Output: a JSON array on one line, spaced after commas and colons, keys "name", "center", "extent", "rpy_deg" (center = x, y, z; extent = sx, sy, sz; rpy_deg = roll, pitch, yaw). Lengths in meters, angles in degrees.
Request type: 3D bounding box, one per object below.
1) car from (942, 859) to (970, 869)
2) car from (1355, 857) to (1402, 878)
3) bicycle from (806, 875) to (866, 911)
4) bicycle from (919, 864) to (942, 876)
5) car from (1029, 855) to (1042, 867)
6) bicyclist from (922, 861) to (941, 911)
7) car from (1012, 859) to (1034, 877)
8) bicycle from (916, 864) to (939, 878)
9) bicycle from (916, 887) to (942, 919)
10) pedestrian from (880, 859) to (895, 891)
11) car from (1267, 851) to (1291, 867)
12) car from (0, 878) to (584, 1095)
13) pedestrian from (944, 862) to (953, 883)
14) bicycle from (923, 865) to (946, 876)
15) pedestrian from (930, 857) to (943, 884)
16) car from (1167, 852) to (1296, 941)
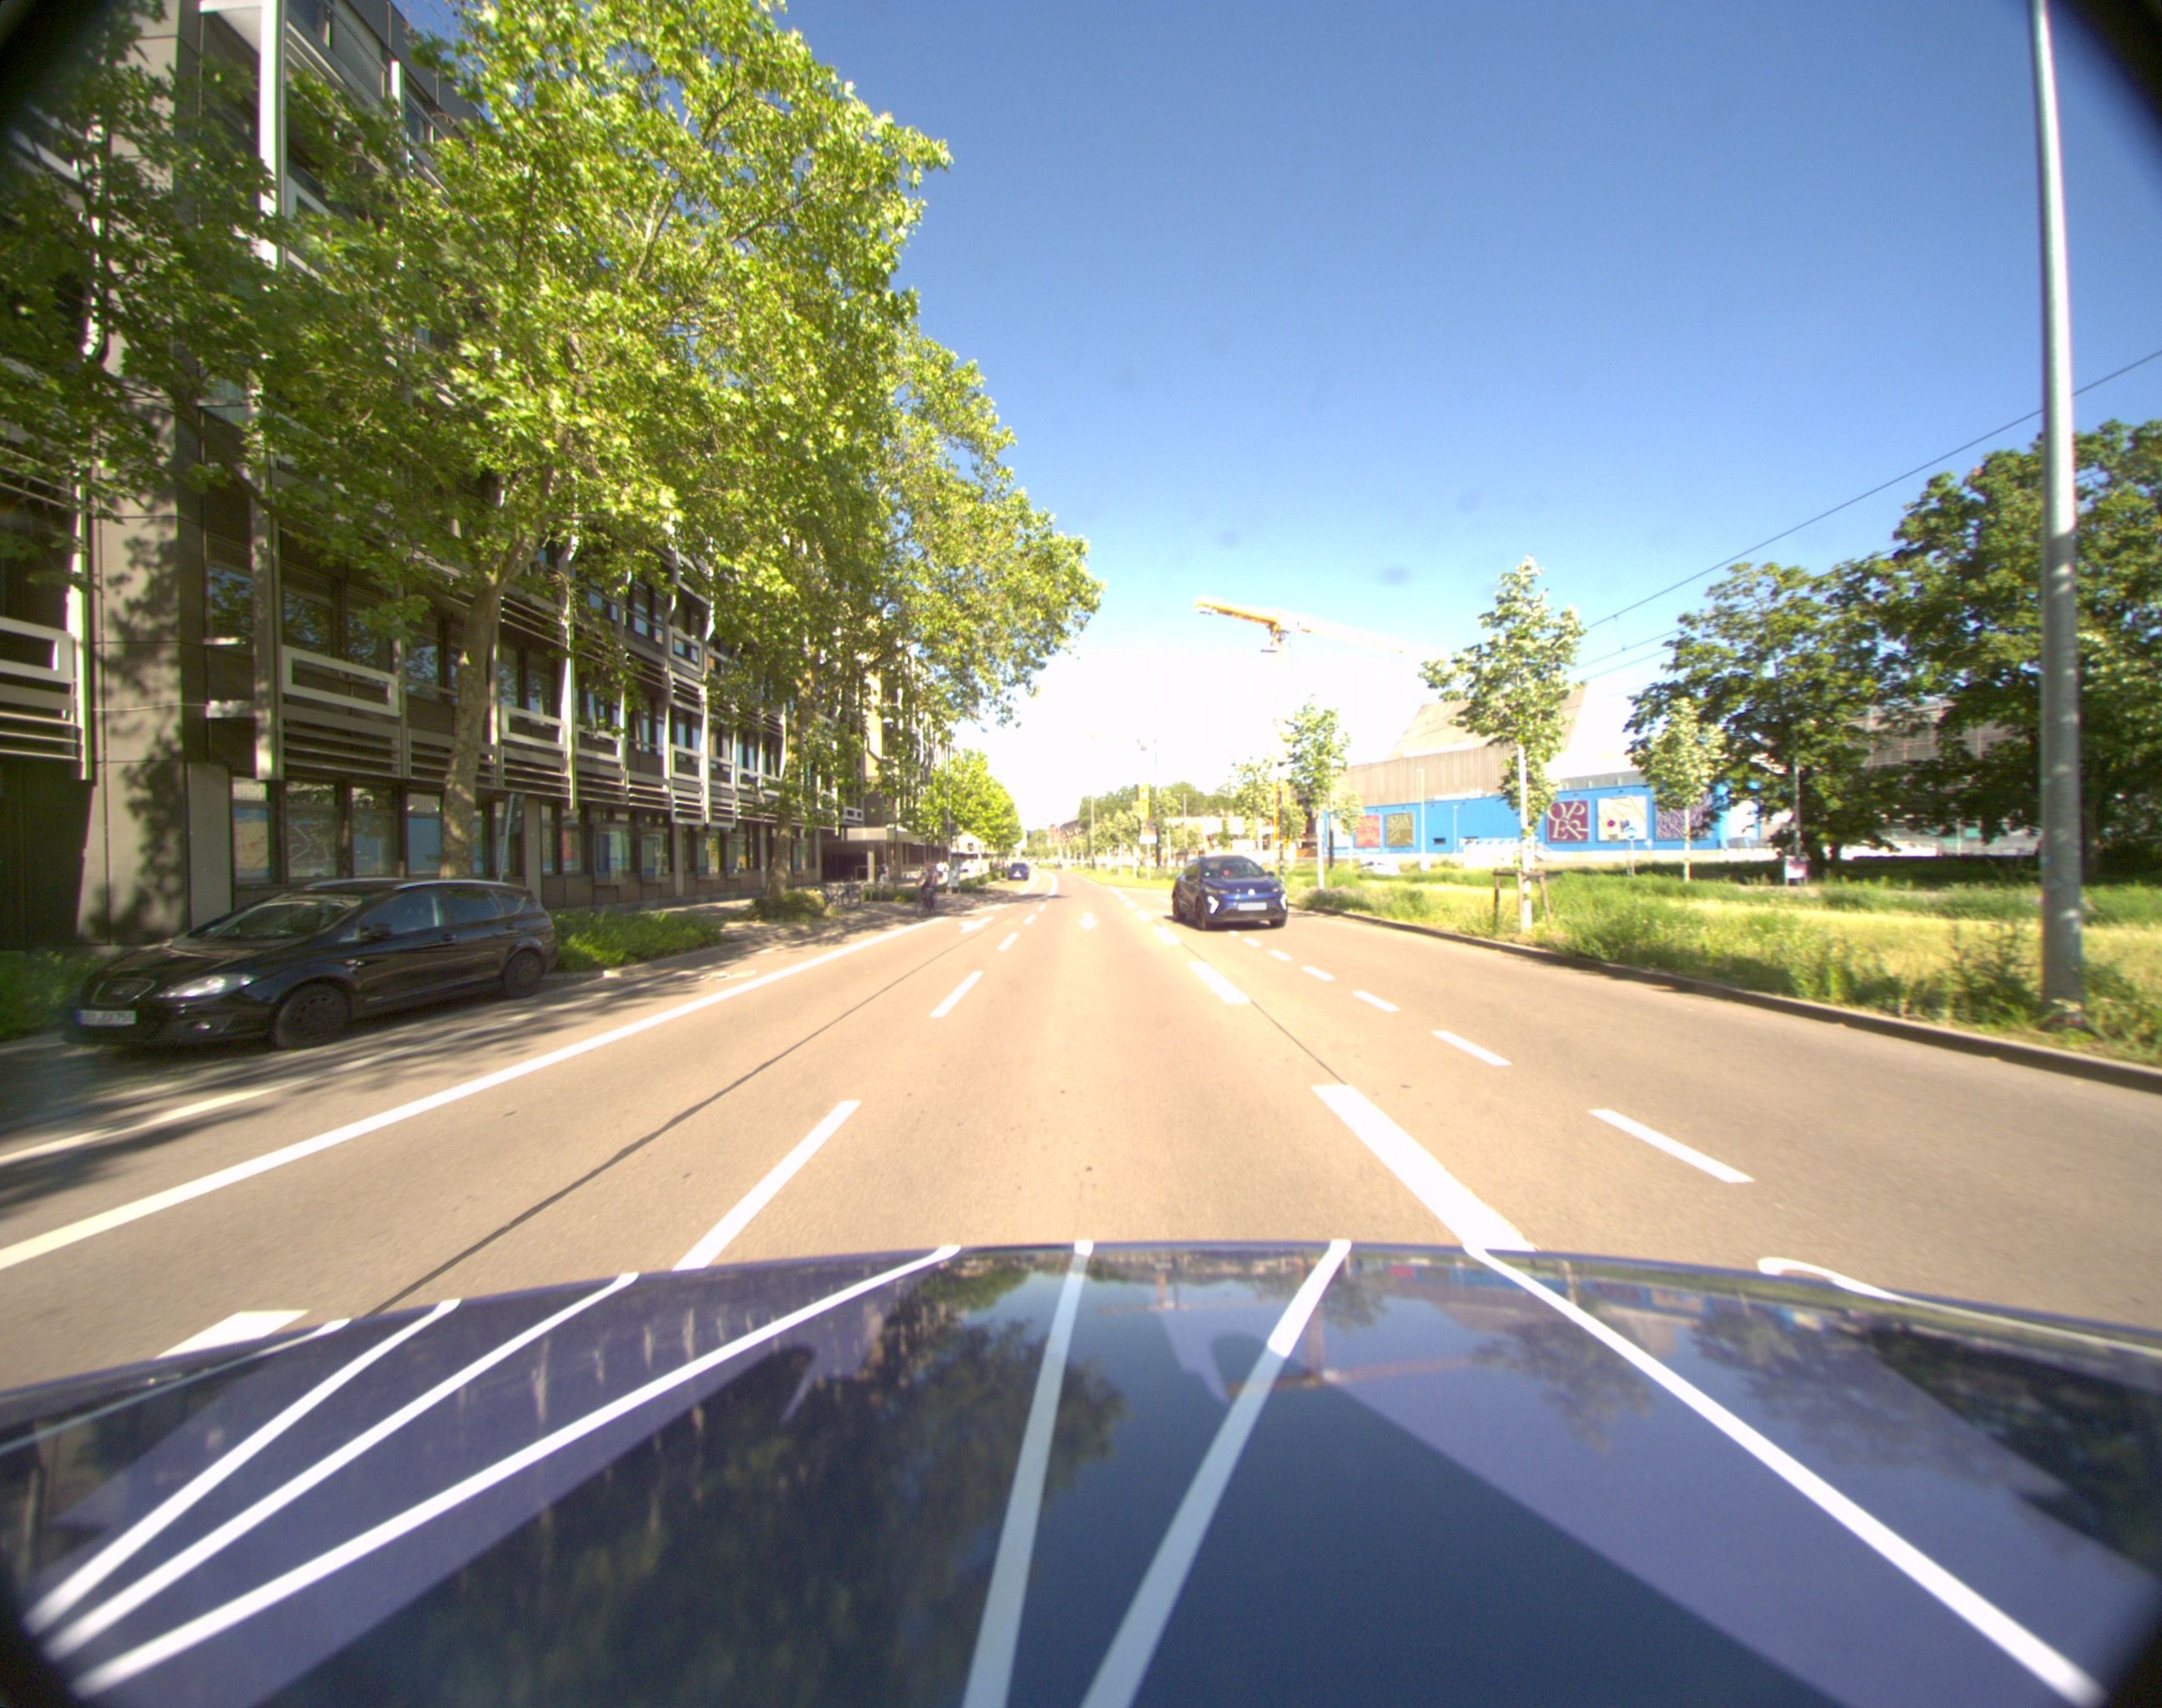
[{"name": "car", "center": [-20.964, 1.607, 127.250], "extent": [4.411, 1.535, 1.851], "rpy_deg": [-1, 0, -16]}, {"name": "car", "center": [20.219, 0.892, 51.834], "extent": [1.637, 1.390, 3.833], "rpy_deg": [-1, 0, -1]}, {"name": "bicycle", "center": [-8.664, 1.383, 26.918], "extent": [1.942, 1.229, 0.579], "rpy_deg": [0, 0, -2]}, {"name": "bicycle", "center": [-12.767, 1.386, 64.547], "extent": [1.862, 1.005, 0.427], "rpy_deg": [1, 0, 2]}, {"name": "car", "center": [-7.962, 1.228, 133.387], "extent": [1.822, 1.783, 3.999], "rpy_deg": [-3, 1, 1]}, {"name": "bicyclist", "center": [-4.868, 1.038, 24.783], "extent": [0.514, 1.592, 0.536], "rpy_deg": [-1, 0, -4]}, {"name": "car", "center": [-5.426, 1.292, 71.778], "extent": [1.854, 1.647, 4.847], "rpy_deg": [0, 0, -2]}, {"name": "bicycle", "center": [-12.759, 1.433, 63.204], "extent": [1.862, 1.091, 0.427], "rpy_deg": [1, 0, 2]}, {"name": "bicycle", "center": [-4.898, 1.565, 24.592], "extent": [0.499, 0.900, 2.196], "rpy_deg": [-3, 0, -4]}, {"name": "pedestrian", "center": [-10.377, 1.126, 40.757], "extent": [0.512, 1.691, 0.774], "rpy_deg": [-1, 0, 0]}, {"name": "car", "center": [23.970, 0.576, 91.949], "extent": [1.802, 1.787, 4.000], "rpy_deg": [-3, 1, 1]}, {"name": "car", "center": [-8.068, 1.161, 8.565], "extent": [1.708, 1.633, 4.637], "rpy_deg": [0, 0, 3]}, {"name": "pedestrian", "center": [-9.740, 1.365, 56.031], "extent": [0.512, 1.466, 0.736], "rpy_deg": [-1, 0, 0]}, {"name": "bicycle", "center": [-12.686, 1.402, 65.896], "extent": [1.862, 0.933, 0.427], "rpy_deg": [1, 0, 2]}, {"name": "pedestrian", "center": [-9.245, 1.070, 48.697], "extent": [0.649, 1.718, 0.803], "rpy_deg": [-1, 0, 0]}, {"name": "car", "center": [3.205, 0.853, 17.063], "extent": [1.749, 1.613, 4.151], "rpy_deg": [-4, 0, -3]}]
